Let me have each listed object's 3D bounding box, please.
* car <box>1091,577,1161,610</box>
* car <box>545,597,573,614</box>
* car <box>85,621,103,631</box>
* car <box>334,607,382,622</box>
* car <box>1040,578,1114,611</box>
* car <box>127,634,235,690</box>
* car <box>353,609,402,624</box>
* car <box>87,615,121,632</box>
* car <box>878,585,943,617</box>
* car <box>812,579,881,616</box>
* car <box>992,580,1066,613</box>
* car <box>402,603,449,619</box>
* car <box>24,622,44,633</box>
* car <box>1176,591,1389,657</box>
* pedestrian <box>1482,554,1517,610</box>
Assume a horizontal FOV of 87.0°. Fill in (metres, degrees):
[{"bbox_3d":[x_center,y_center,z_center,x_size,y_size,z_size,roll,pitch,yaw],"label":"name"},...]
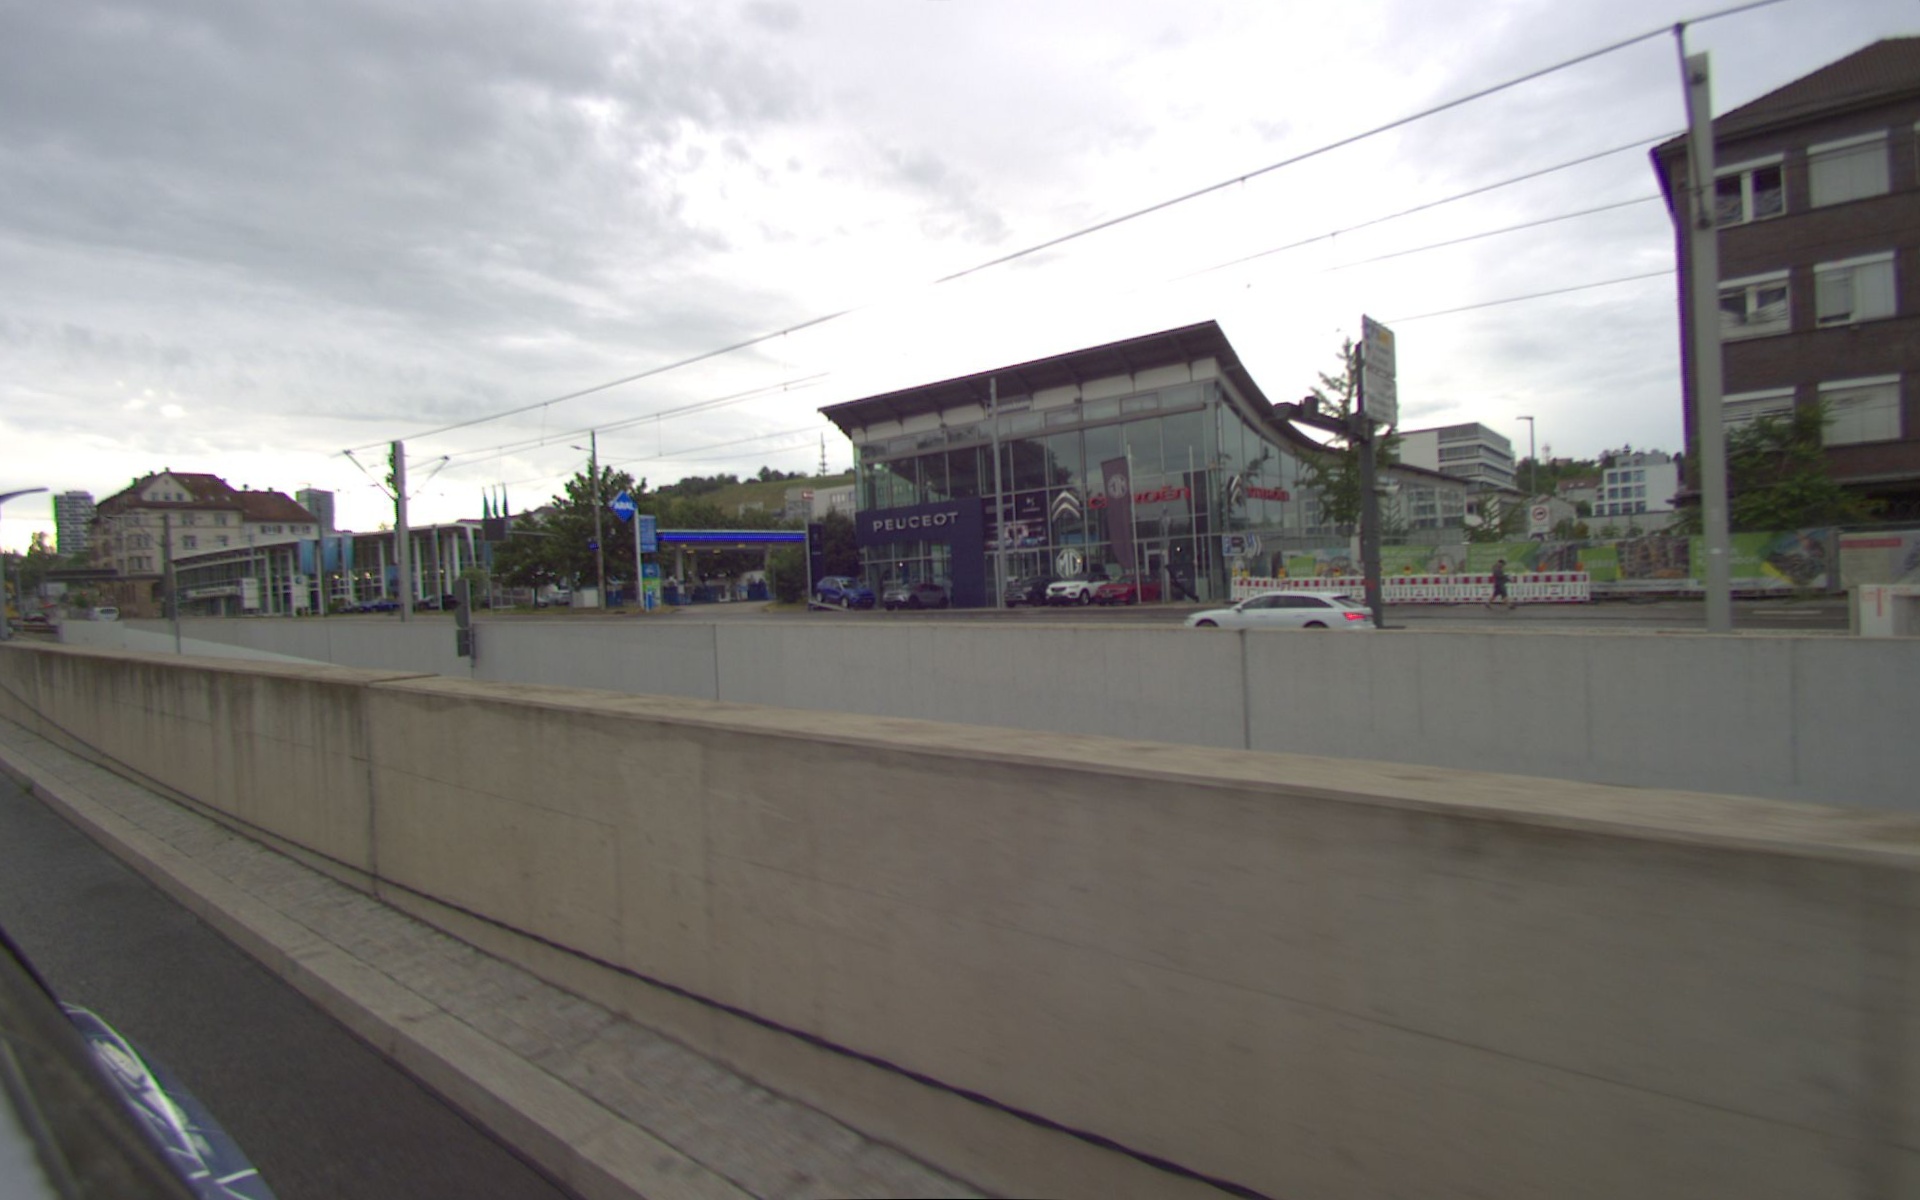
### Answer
[{"bbox_3d":[7.468,-0.293,45.335,1.616,1.392,3.447,-2,0,37],"label":"car"},{"bbox_3d":[-40.166,0.518,101.433,2.798,1.584,1.368,-2,1,39],"label":"car"},{"bbox_3d":[-117.557,3.490,137.410,2.799,1.309,1.368,-2,1,40],"label":"car"},{"bbox_3d":[-60.369,1.432,101.573,1.690,1.244,3.974,-4,1,20],"label":"car"},{"bbox_3d":[5.447,-0.271,46.711,1.749,1.407,3.444,-2,0,41],"label":"car"},{"bbox_3d":[-25.480,1.961,33.054,4.317,1.585,1.956,-2,0,41],"label":"car"},{"bbox_3d":[-57.860,1.624,100.564,1.747,1.244,3.974,-1,1,20],"label":"car"},{"bbox_3d":[-93.009,2.580,109.914,5.031,1.708,1.981,-2,1,40],"label":"car"},{"bbox_3d":[-2.561,0.060,53.125,1.572,1.413,3.469,-3,-5,37],"label":"car"},{"bbox_3d":[-6.292,-0.181,55.717,1.741,1.620,4.073,-6,8,-42],"label":"car"},{"bbox_3d":[3.305,-0.173,48.172,1.749,1.485,3.444,-2,0,41],"label":"car"},{"bbox_3d":[-48.997,0.975,92.785,1.717,1.284,3.476,-1,2,45],"label":"car"},{"bbox_3d":[-145.620,4.305,159.146,4.337,1.527,1.724,-1,1,41],"label":"car"},{"bbox_3d":[8.353,0.628,26.469,4.943,1.527,1.892,-2,1,38],"label":"car"},{"bbox_3d":[17.288,-0.566,32.452,0.839,1.763,0.609,-2,1,41],"label":"pedestrian"}]
